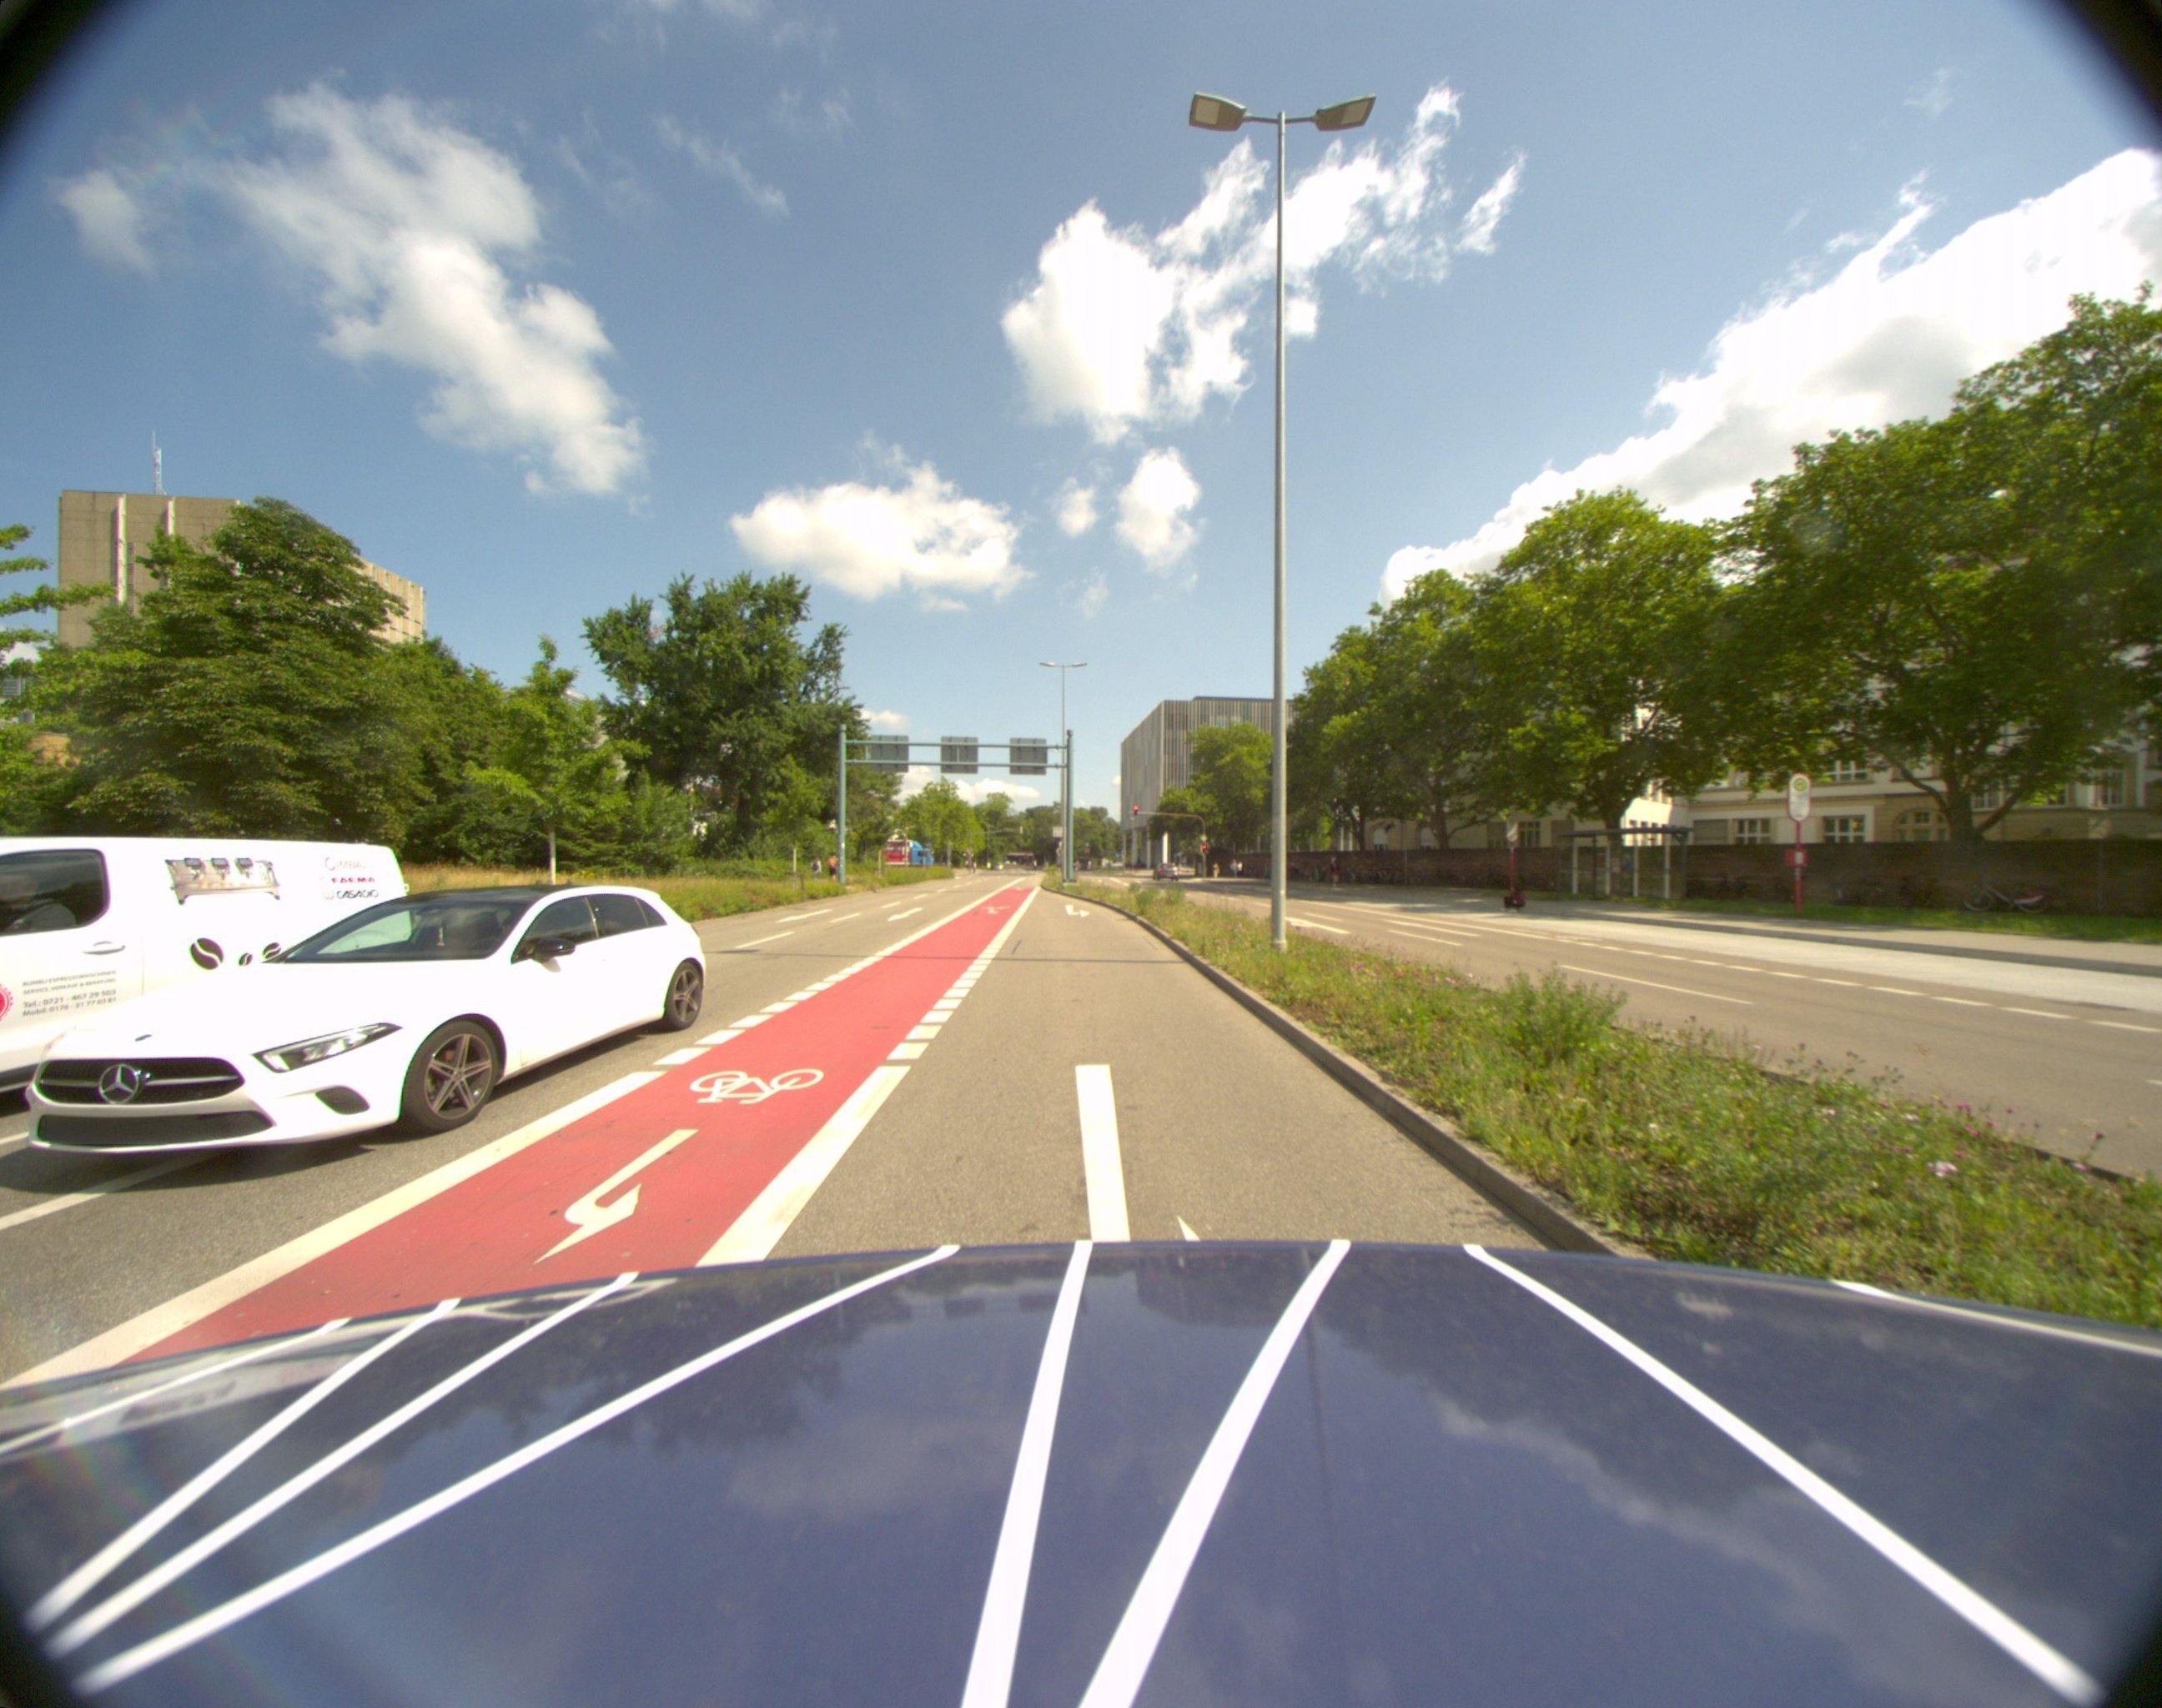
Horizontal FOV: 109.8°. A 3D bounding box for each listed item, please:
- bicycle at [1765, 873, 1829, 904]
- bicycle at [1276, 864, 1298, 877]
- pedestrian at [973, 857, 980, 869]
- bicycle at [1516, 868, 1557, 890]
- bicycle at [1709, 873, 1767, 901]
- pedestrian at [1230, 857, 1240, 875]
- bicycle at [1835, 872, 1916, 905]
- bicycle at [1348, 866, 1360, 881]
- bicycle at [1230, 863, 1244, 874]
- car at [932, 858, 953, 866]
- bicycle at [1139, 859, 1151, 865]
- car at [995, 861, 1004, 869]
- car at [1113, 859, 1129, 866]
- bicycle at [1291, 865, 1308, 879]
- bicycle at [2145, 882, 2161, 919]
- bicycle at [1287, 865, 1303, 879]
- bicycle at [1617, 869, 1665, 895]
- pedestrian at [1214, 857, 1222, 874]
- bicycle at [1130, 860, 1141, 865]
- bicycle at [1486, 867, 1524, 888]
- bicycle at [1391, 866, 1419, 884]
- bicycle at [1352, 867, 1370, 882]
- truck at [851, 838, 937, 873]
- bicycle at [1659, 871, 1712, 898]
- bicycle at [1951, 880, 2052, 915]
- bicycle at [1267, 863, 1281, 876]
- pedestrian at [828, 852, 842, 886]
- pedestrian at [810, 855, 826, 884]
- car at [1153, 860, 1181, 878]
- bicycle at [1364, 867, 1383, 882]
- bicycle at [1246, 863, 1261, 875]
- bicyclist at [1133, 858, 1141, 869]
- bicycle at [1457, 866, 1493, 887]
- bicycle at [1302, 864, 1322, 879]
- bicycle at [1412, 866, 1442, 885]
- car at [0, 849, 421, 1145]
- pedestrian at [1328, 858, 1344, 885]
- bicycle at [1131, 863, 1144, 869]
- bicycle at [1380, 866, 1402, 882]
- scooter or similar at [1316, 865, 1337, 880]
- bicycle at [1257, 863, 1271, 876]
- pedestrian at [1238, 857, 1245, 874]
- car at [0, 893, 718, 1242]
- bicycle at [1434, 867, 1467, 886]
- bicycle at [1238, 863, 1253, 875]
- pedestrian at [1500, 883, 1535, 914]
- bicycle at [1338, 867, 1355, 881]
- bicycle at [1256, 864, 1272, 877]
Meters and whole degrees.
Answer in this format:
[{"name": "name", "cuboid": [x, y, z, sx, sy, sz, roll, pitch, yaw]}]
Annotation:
[{"name": "bicycle", "cuboid": [26.576, 1.257, 28.243, 0.585, 1.067, 1.628, 0, 0, -23]}, {"name": "bicycle", "cuboid": [16.516, 1.307, 60.961, 0.594, 1.042, 1.877, 0, 0, -27]}, {"name": "pedestrian", "cuboid": [-14.422, 1.248, 104.861, 0.741, 1.640, 0.639, 0, 0, 3]}, {"name": "bicycle", "cuboid": [22.602, 1.220, 37.730, 0.585, 1.067, 1.752, 0, 0, -23]}, {"name": "bicycle", "cuboid": [25.831, 1.281, 29.904, 0.585, 1.067, 1.628, 0, 0, -23]}, {"name": "pedestrian", "cuboid": [13.821, 1.062, 68.094, 0.643, 1.641, 0.731, 0, 0, -7]}, {"name": "bicycle", "cuboid": [27.523, 1.185, 26.375, 0.584, 1.067, 1.867, 0, 0, -19]}, {"name": "bicycle", "cuboid": [18.129, 1.299, 50.514, 0.367, 0.949, 1.626, 0, 0, 7]}, {"name": "bicycle", "cuboid": [14.624, 1.338, 71.268, 0.632, 1.042, 1.879, 0, 0, -11]}, {"name": "car", "cuboid": [-27.775, 1.595, 152.278, 4.002, 1.416, 1.755, 0, 0, -13]}, {"name": "bicycle", "cuboid": [12.306, 1.580, 145.347, 2.218, 1.090, 0.722, 0, 0, -10]}, {"name": "car", "cuboid": [-15.535, 2.123, 144.564, 1.709, 1.321, 3.997, 3, -1, -7]}, {"name": "car", "cuboid": [10.065, 2.131, 192.366, 3.998, 1.676, 1.646, 0, 0, -3]}, {"name": "bicycle", "cuboid": [16.962, 1.359, 59.046, 0.395, 1.042, 1.879, 0, 0, -11]}, {"name": "bicycle", "cuboid": [30.339, 1.304, 20.730, 0.473, 1.005, 1.453, 0, 0, -23]}, {"name": "bicycle", "cuboid": [16.594, 1.358, 58.968, 0.374, 1.042, 1.879, 0, 0, -11]}, {"name": "bicycle", "cuboid": [24.417, 1.213, 33.156, 0.585, 1.067, 1.628, 0, 0, -23]}, {"name": "pedestrian", "cuboid": [13.013, 1.073, 72.023, 0.562, 1.641, 0.726, 0, 0, -7]}, {"name": "bicycle", "cuboid": [11.393, 1.807, 158.138, 2.218, 1.090, 0.722, 0, 0, -10]}, {"name": "bicycle", "cuboid": [22.006, 1.210, 39.483, 0.585, 1.067, 1.752, 0, 0, -23]}, {"name": "bicycle", "cuboid": [19.759, 1.253, 46.395, 0.584, 1.067, 1.753, 0, 0, -17]}, {"name": "bicycle", "cuboid": [18.853, 1.388, 51.248, 0.368, 0.949, 1.400, 0, 0, -17]}, {"name": "truck", "cuboid": [-20.756, 0.173, 84.895, 9.192, 3.777, 2.663, 0, 0, -10]}, {"name": "bicycle", "cuboid": [25.110, 1.268, 31.592, 0.585, 1.067, 1.628, 0, 0, -23]}, {"name": "bicycle", "cuboid": [28.729, 1.333, 23.762, 0.473, 1.005, 1.960, 0, 0, -23]}, {"name": "bicycle", "cuboid": [16.013, 1.306, 62.981, 0.371, 1.042, 1.879, 0, 0, -11]}, {"name": "pedestrian", "cuboid": [-13.169, 0.783, 40.715, 0.568, 1.791, 0.638, 0, 0, -2]}, {"name": "pedestrian", "cuboid": [-14.050, 0.832, 40.620, 0.624, 1.571, 0.708, 0, 0, -2]}, {"name": "car", "cuboid": [7.093, 1.238, 63.122, 1.705, 1.436, 4.145, 1, 0, -2]}, {"name": "bicycle", "cuboid": [19.158, 1.358, 49.756, 0.368, 0.949, 1.400, 0, 0, -17]}, {"name": "bicycle", "cuboid": [15.248, 1.341, 67.041, 0.566, 1.042, 1.879, 0, 0, -11]}, {"name": "bicyclist", "cuboid": [7.723, 1.339, 105.072, 0.944, 1.456, 0.633, 0, 0, 29]}, {"name": "bicycle", "cuboid": [21.363, 1.209, 41.255, 0.585, 1.067, 1.752, 0, 0, -23]}, {"name": "bicycle", "cuboid": [17.350, 1.299, 57.166, 0.582, 1.042, 1.879, 0, 0, -11]}, {"name": "bicycle", "cuboid": [20.355, 1.232, 44.748, 0.584, 1.067, 1.753, 0, 0, -17]}, {"name": "car", "cuboid": [-7.756, 0.897, 5.407, 1.947, 1.859, 4.825, 0, 0, -1]}, {"name": "pedestrian", "cuboid": [15.535, 1.066, 46.280, 0.658, 1.600, 0.744, -1, 0, -1]}, {"name": "bicycle", "cuboid": [7.825, 1.655, 105.019, 1.771, 0.887, 0.639, 0, 0, 30]}, {"name": "bicycle", "cuboid": [19.554, 1.251, 47.964, 0.371, 0.949, 1.624, 0, 0, -17]}, {"name": "scooter or similar", "cuboid": [17.856, 1.310, 55.261, 0.582, 1.042, 1.879, 0, 0, -11]}, {"name": "bicycle", "cuboid": [15.629, 1.327, 64.975, 0.371, 1.042, 1.879, 0, 0, -11]}, {"name": "pedestrian", "cuboid": [14.498, 1.077, 68.553, 0.477, 1.531, 0.616, 0, 0, -7]}, {"name": "car", "cuboid": [-4.711, 1.099, 5.697, 1.909, 1.415, 4.384, 0, 0, 0]}, {"name": "bicycle", "cuboid": [20.921, 1.268, 43.054, 0.584, 1.067, 1.753, 0, 0, -19]}, {"name": "bicycle", "cuboid": [15.012, 1.331, 69.179, 0.632, 1.042, 1.879, 0, 0, -11]}, {"name": "pedestrian", "cuboid": [14.493, 1.470, 25.240, 0.696, 0.957, 0.743, 0, 0, -3]}, {"name": "bicycle", "cuboid": [18.426, 1.376, 52.715, 0.368, 0.949, 1.400, 0, 0, -17]}, {"name": "bicycle", "cuboid": [15.320, 1.350, 63.657, 0.594, 1.042, 1.879, 0, 0, -11]}]
